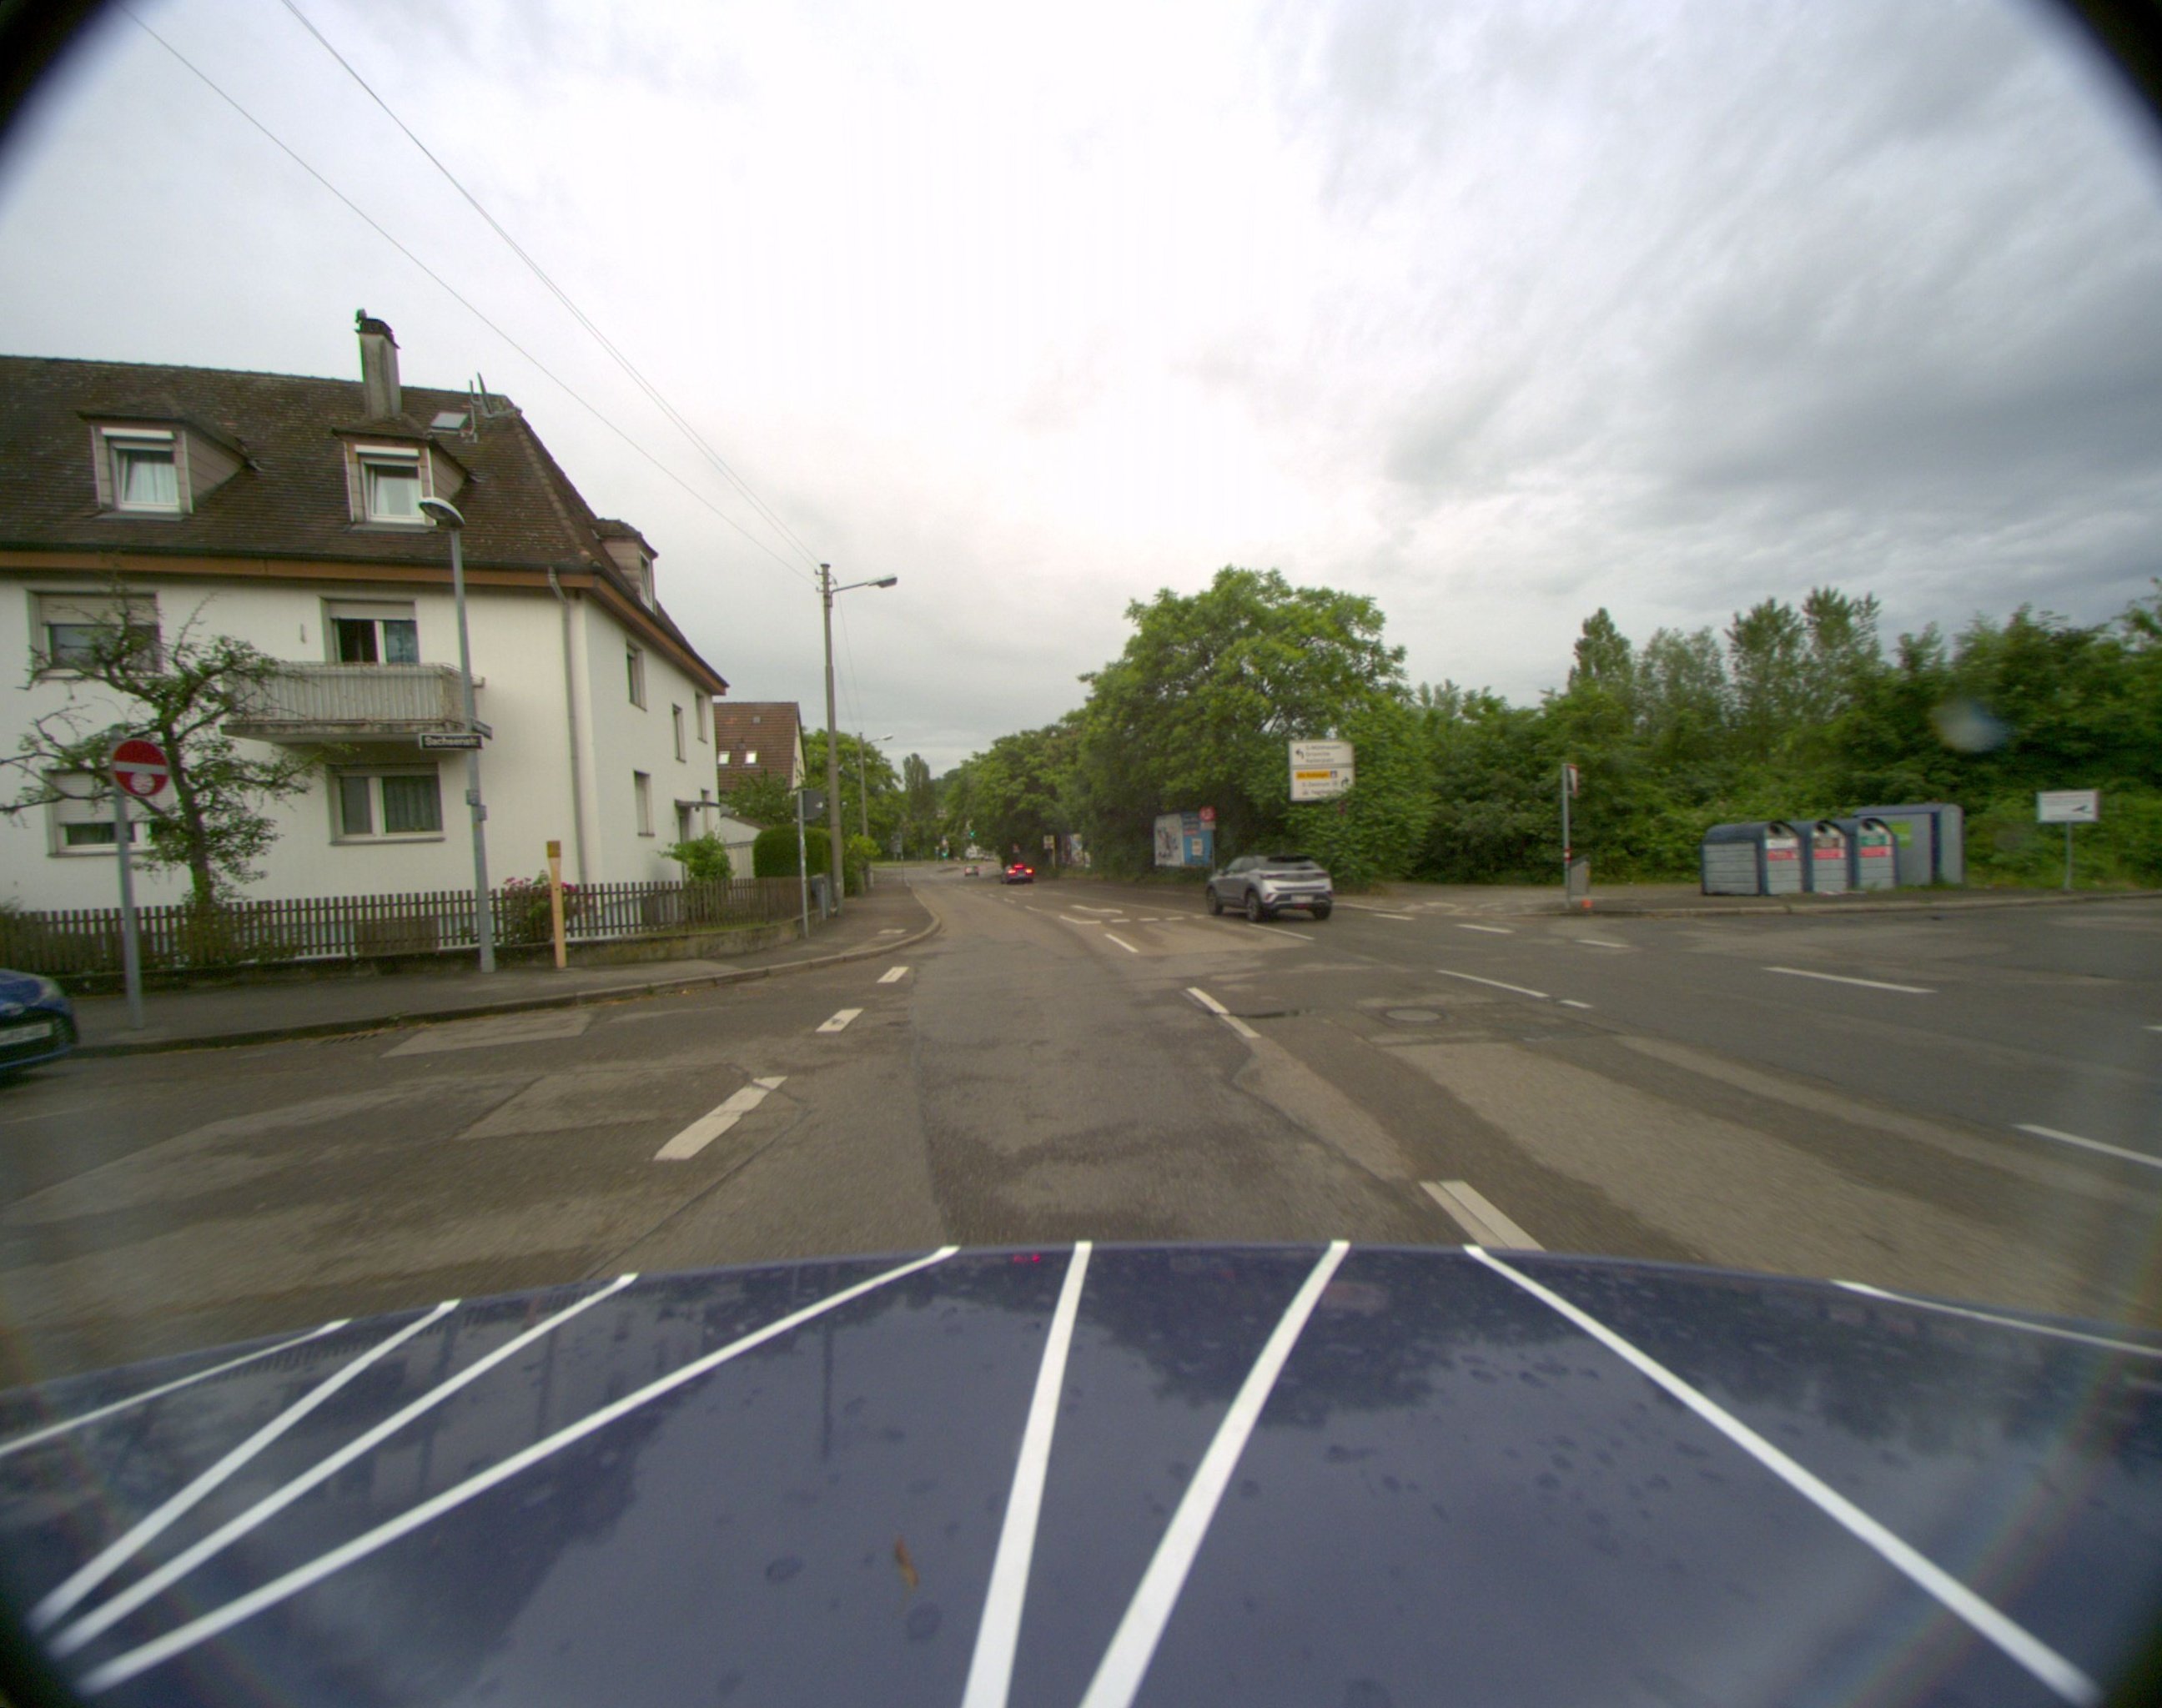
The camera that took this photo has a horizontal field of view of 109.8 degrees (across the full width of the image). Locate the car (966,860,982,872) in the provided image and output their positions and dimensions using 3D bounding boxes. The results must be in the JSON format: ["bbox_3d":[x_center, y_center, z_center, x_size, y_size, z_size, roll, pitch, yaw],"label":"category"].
[{"bbox_3d":[-13.382,1.517,94.913,1.675,1.459,3.776,-2,0,-14],"label":"car"}]

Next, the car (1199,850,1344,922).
[{"bbox_3d":[4.352,0.696,18.023,1.901,1.453,3.997,-2,0,-9],"label":"car"}]

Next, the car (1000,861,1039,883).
[{"bbox_3d":[-4.611,1.375,56.287,2.001,1.434,4.771,-1,-3,-15],"label":"car"}]

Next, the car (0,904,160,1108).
[{"bbox_3d":[-10.182,1.225,5.527,4.128,1.471,1.884,-2,0,-11],"label":"car"}]
